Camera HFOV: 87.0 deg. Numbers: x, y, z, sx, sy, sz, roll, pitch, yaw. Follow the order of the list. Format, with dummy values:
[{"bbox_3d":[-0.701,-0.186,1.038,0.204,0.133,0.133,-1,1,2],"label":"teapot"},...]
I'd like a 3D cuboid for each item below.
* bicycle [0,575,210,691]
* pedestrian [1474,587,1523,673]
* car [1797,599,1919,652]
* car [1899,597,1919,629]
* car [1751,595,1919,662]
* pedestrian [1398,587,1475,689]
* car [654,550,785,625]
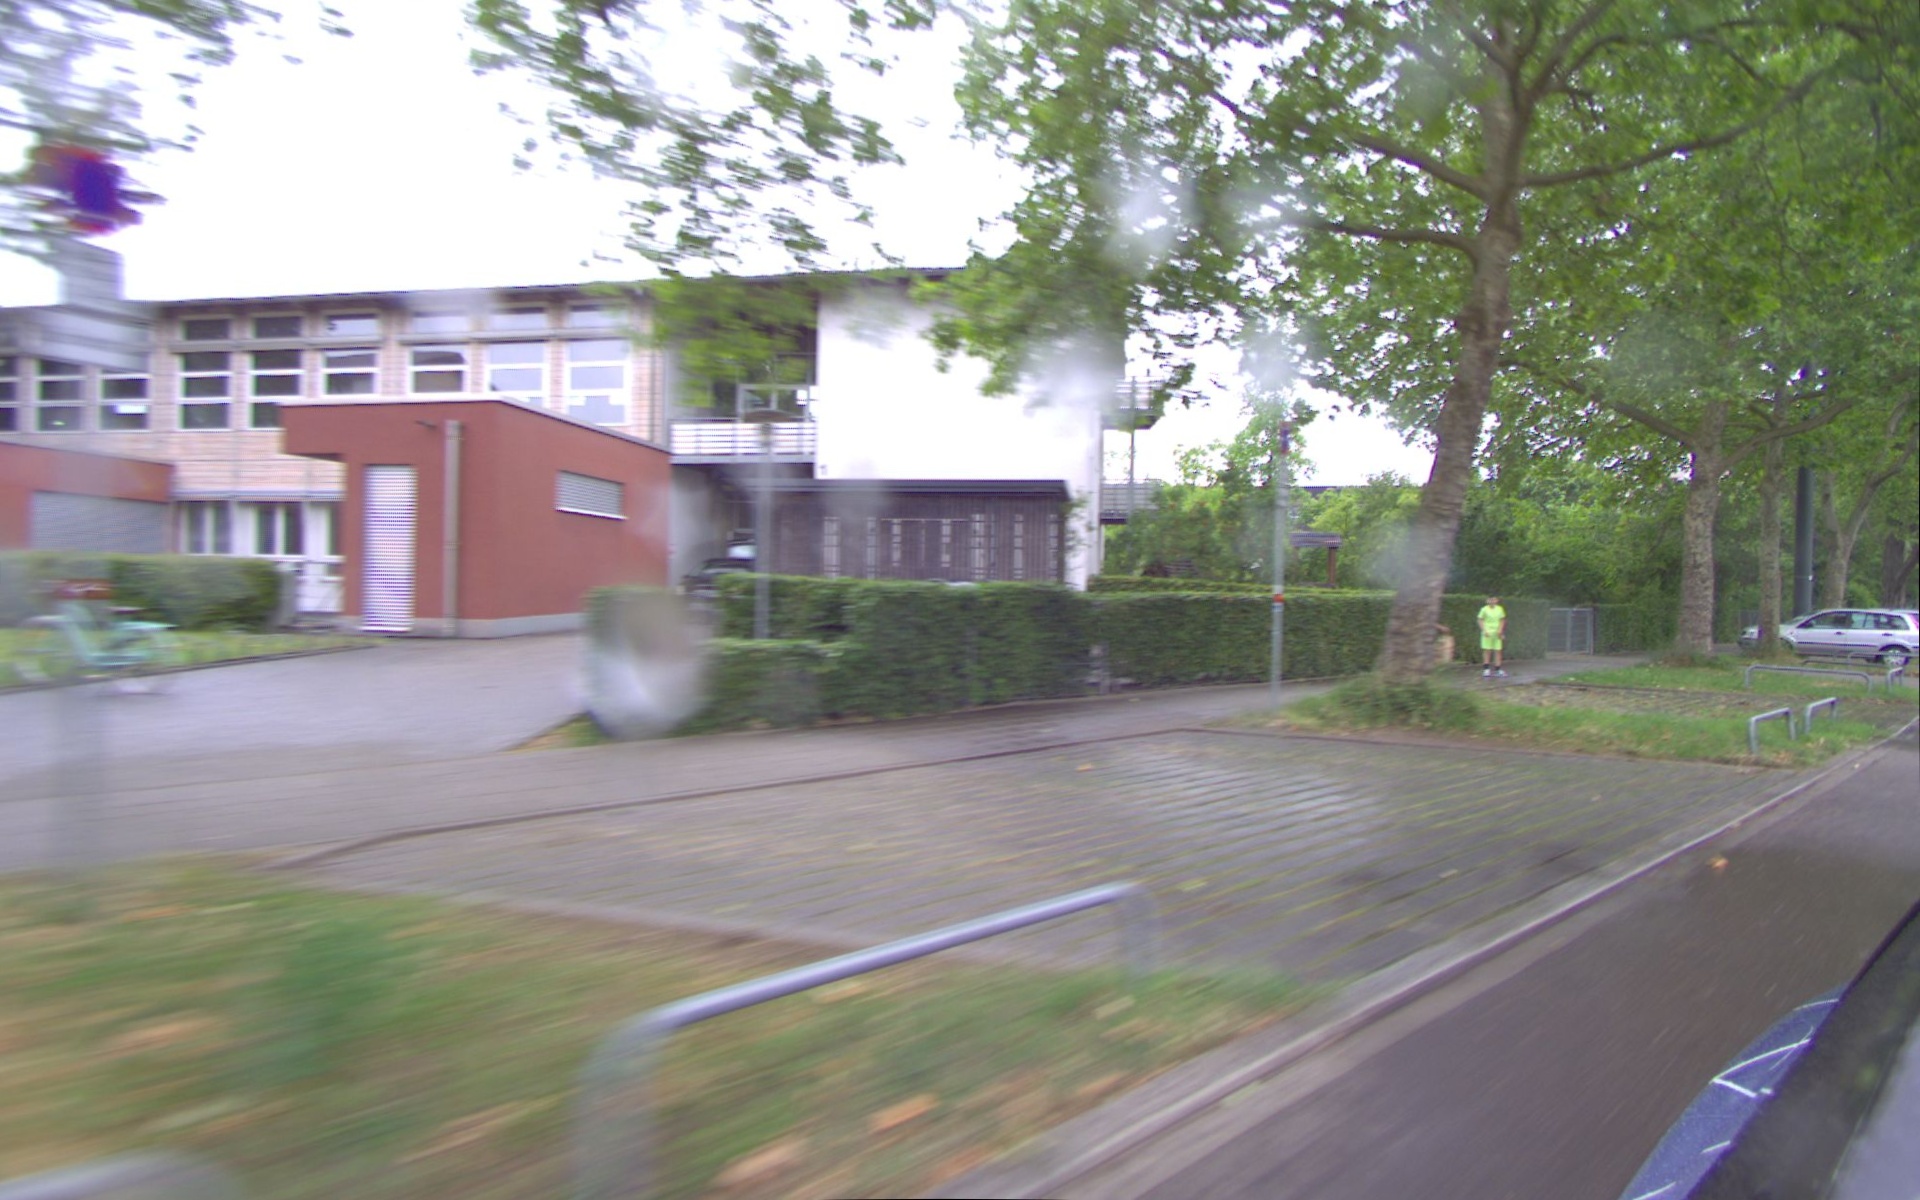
[{"bbox_3d":[-9.090,0.331,10.694,2.008,1.104,0.464,3,1,2],"label":"bicycle"},{"bbox_3d":[10.164,0.548,19.109,0.556,1.557,0.951,2,0,44],"label":"pedestrian"},{"bbox_3d":[32.221,0.895,34.923,4.700,1.689,1.988,1,1,12],"label":"car"},{"bbox_3d":[63.931,0.968,64.911,4.954,2.039,1.992,3,0,13],"label":"car"},{"bbox_3d":[24.239,0.743,27.676,3.836,1.585,1.602,3,1,30],"label":"car"},{"bbox_3d":[7.619,0.582,16.181,0.833,1.557,0.846,3,1,44],"label":"pedestrian"},{"bbox_3d":[-5.250,-0.284,22.571,1.805,1.492,3.698,2,1,4],"label":"car"}]
